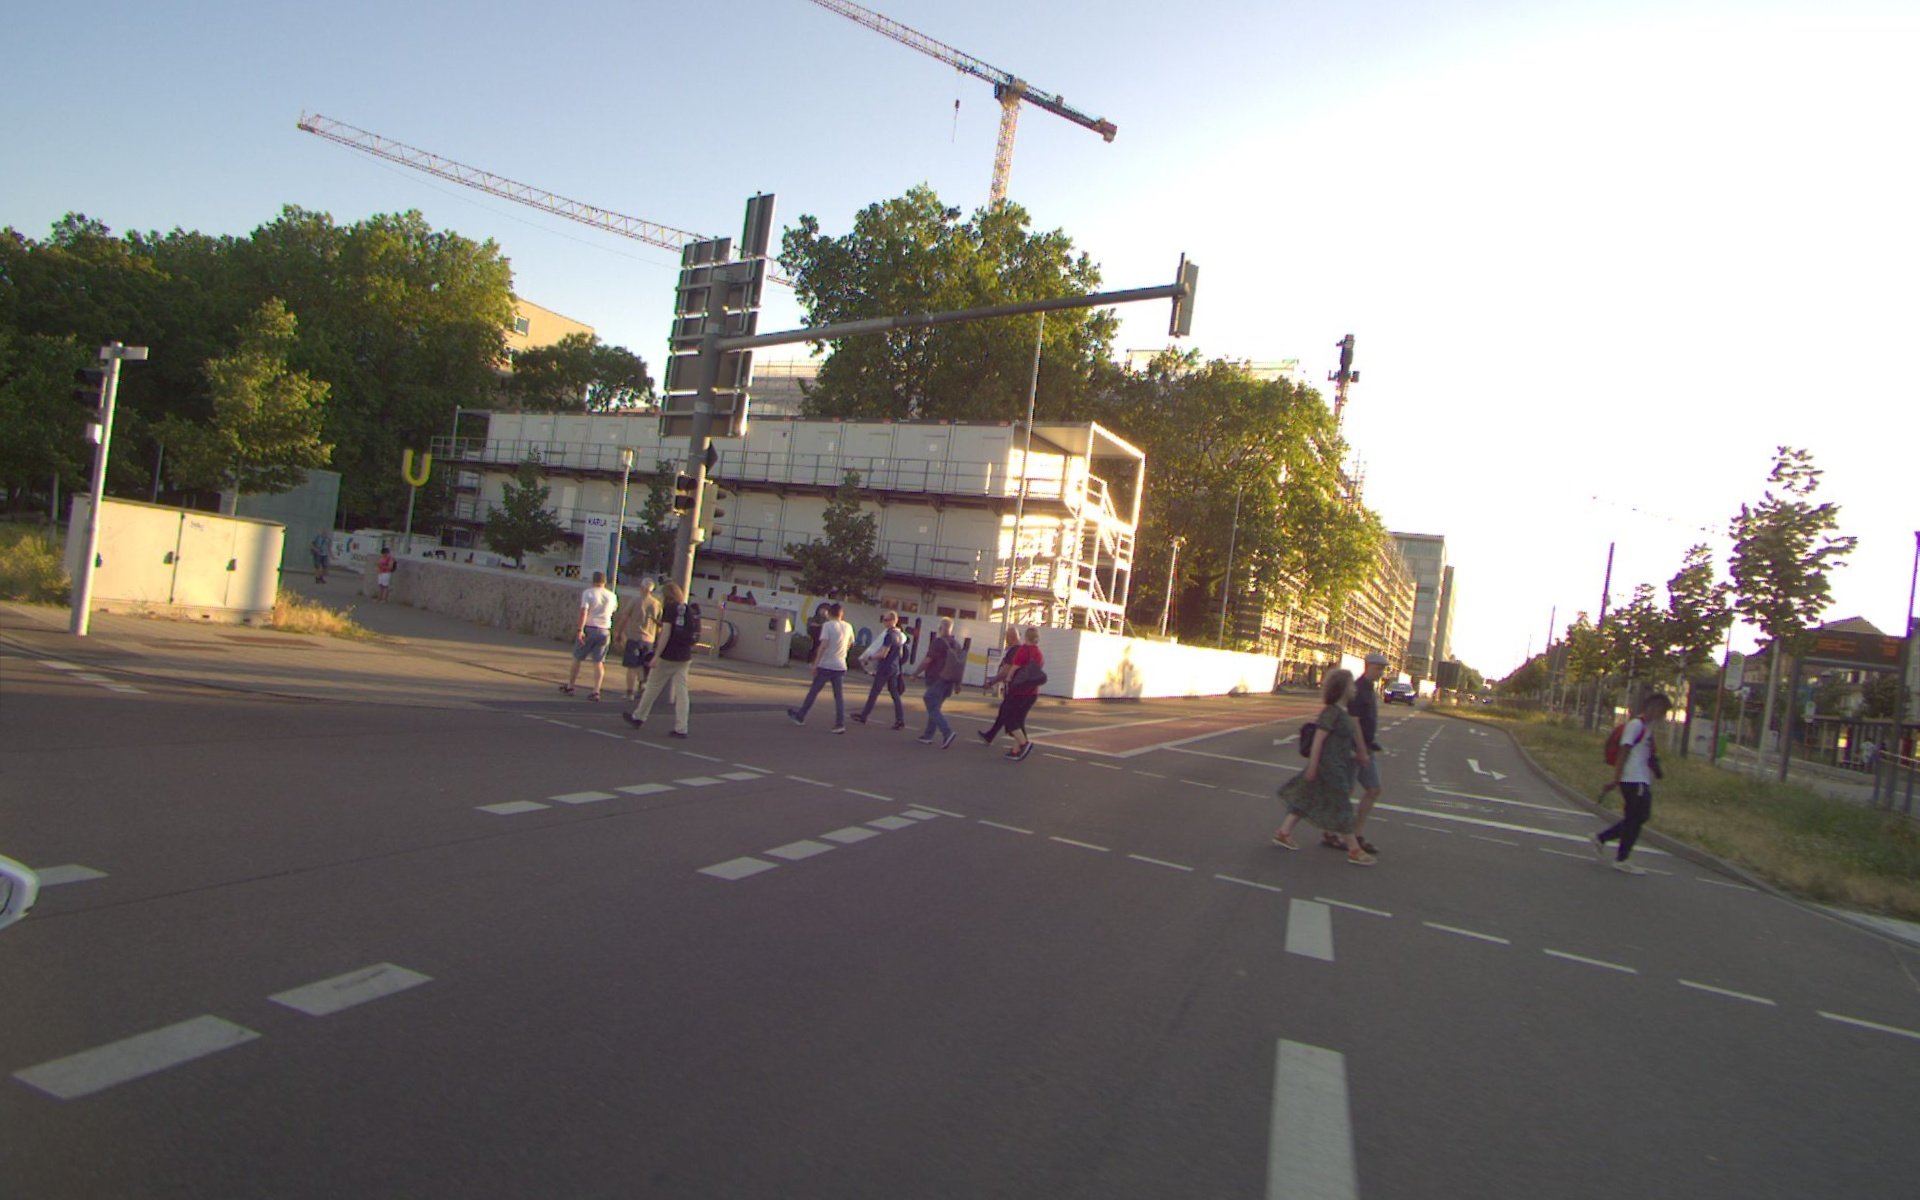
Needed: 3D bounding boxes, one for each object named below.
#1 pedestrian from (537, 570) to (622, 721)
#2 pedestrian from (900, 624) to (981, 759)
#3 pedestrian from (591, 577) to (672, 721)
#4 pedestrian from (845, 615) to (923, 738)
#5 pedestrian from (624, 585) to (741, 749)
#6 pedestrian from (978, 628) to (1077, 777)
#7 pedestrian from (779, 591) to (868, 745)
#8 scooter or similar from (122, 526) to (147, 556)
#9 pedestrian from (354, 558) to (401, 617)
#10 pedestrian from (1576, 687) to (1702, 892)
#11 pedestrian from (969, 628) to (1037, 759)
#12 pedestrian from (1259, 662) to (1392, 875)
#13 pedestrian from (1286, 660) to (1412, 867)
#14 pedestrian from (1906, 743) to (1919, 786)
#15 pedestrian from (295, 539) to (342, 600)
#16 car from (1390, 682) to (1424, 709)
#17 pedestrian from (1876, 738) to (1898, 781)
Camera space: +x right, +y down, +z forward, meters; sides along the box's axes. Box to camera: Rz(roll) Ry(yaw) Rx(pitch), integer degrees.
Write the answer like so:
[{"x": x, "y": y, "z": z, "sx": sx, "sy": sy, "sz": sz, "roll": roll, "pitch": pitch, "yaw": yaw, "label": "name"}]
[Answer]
[{"x": -5.169, "y": 0.626, "z": 13.679, "sx": 0.609, "sy": 1.956, "sz": 0.643, "roll": 7, "pitch": 0, "yaw": 34, "label": "pedestrian"}, {"x": -0.260, "y": 1.231, "z": 13.660, "sx": 0.750, "sy": 1.732, "sz": 0.643, "roll": 3, "pitch": -2, "yaw": 34, "label": "pedestrian"}, {"x": -4.682, "y": 0.708, "z": 14.350, "sx": 0.609, "sy": 1.956, "sz": 0.643, "roll": 7, "pitch": 0, "yaw": 34, "label": "pedestrian"}, {"x": -1.143, "y": 1.161, "z": 15.281, "sx": 0.748, "sy": 1.733, "sz": 0.644, "roll": 8, "pitch": 0, "yaw": 24, "label": "pedestrian"}, {"x": -3.060, "y": 0.733, "z": 11.110, "sx": 0.856, "sy": 1.647, "sz": 0.643, "roll": 8, "pitch": 0, "yaw": 31, "label": "pedestrian"}, {"x": 0.867, "y": 1.301, "z": 12.901, "sx": 0.857, "sy": 1.733, "sz": 0.643, "roll": 8, "pitch": 0, "yaw": 34, "label": "pedestrian"}, {"x": -1.869, "y": 0.931, "z": 13.807, "sx": 0.750, "sy": 1.992, "sz": 0.643, "roll": 7, "pitch": -1, "yaw": 34, "label": "pedestrian"}, {"x": -36.840, "y": -2.629, "z": 44.897, "sx": 1.376, "sy": 1.236, "sz": 0.423, "roll": 7, "pitch": 2, "yaw": 33, "label": "scooter or similar"}, {"x": -16.224, "y": -0.333, "z": 28.029, "sx": 0.633, "sy": 1.509, "sz": 0.761, "roll": 9, "pitch": 1, "yaw": 31, "label": "pedestrian"}, {"x": 6.756, "y": 1.847, "z": 10.038, "sx": 0.857, "sy": 1.834, "sz": 0.643, "roll": 6, "pitch": -1, "yaw": 34, "label": "pedestrian"}, {"x": 0.616, "y": 1.308, "z": 14.293, "sx": 0.567, "sy": 1.769, "sz": 0.642, "roll": 7, "pitch": 3, "yaw": 34, "label": "pedestrian"}, {"x": 3.199, "y": 1.431, "z": 8.790, "sx": 0.857, "sy": 1.679, "sz": 0.643, "roll": 4, "pitch": -2, "yaw": 34, "label": "pedestrian"}, {"x": 3.631, "y": 1.483, "z": 9.381, "sx": 0.857, "sy": 1.750, "sz": 0.643, "roll": 4, "pitch": -2, "yaw": 34, "label": "pedestrian"}, {"x": 44.417, "y": 7.629, "z": 46.682, "sx": 0.608, "sy": 1.880, "sz": 0.721, "roll": 6, "pitch": 5, "yaw": 42, "label": "pedestrian"}, {"x": -21.273, "y": -1.005, "z": 33.344, "sx": 1.031, "sy": 1.837, "sz": 0.814, "roll": 8, "pitch": 0, "yaw": 37, "label": "pedestrian"}, {"x": 31.407, "y": 6.691, "z": 70.686, "sx": 1.964, "sy": 1.548, "sz": 3.999, "roll": 8, "pitch": -1, "yaw": 25, "label": "car"}, {"x": 44.058, "y": 7.568, "z": 47.815, "sx": 0.608, "sy": 1.878, "sz": 0.722, "roll": 6, "pitch": 2, "yaw": 42, "label": "pedestrian"}]
